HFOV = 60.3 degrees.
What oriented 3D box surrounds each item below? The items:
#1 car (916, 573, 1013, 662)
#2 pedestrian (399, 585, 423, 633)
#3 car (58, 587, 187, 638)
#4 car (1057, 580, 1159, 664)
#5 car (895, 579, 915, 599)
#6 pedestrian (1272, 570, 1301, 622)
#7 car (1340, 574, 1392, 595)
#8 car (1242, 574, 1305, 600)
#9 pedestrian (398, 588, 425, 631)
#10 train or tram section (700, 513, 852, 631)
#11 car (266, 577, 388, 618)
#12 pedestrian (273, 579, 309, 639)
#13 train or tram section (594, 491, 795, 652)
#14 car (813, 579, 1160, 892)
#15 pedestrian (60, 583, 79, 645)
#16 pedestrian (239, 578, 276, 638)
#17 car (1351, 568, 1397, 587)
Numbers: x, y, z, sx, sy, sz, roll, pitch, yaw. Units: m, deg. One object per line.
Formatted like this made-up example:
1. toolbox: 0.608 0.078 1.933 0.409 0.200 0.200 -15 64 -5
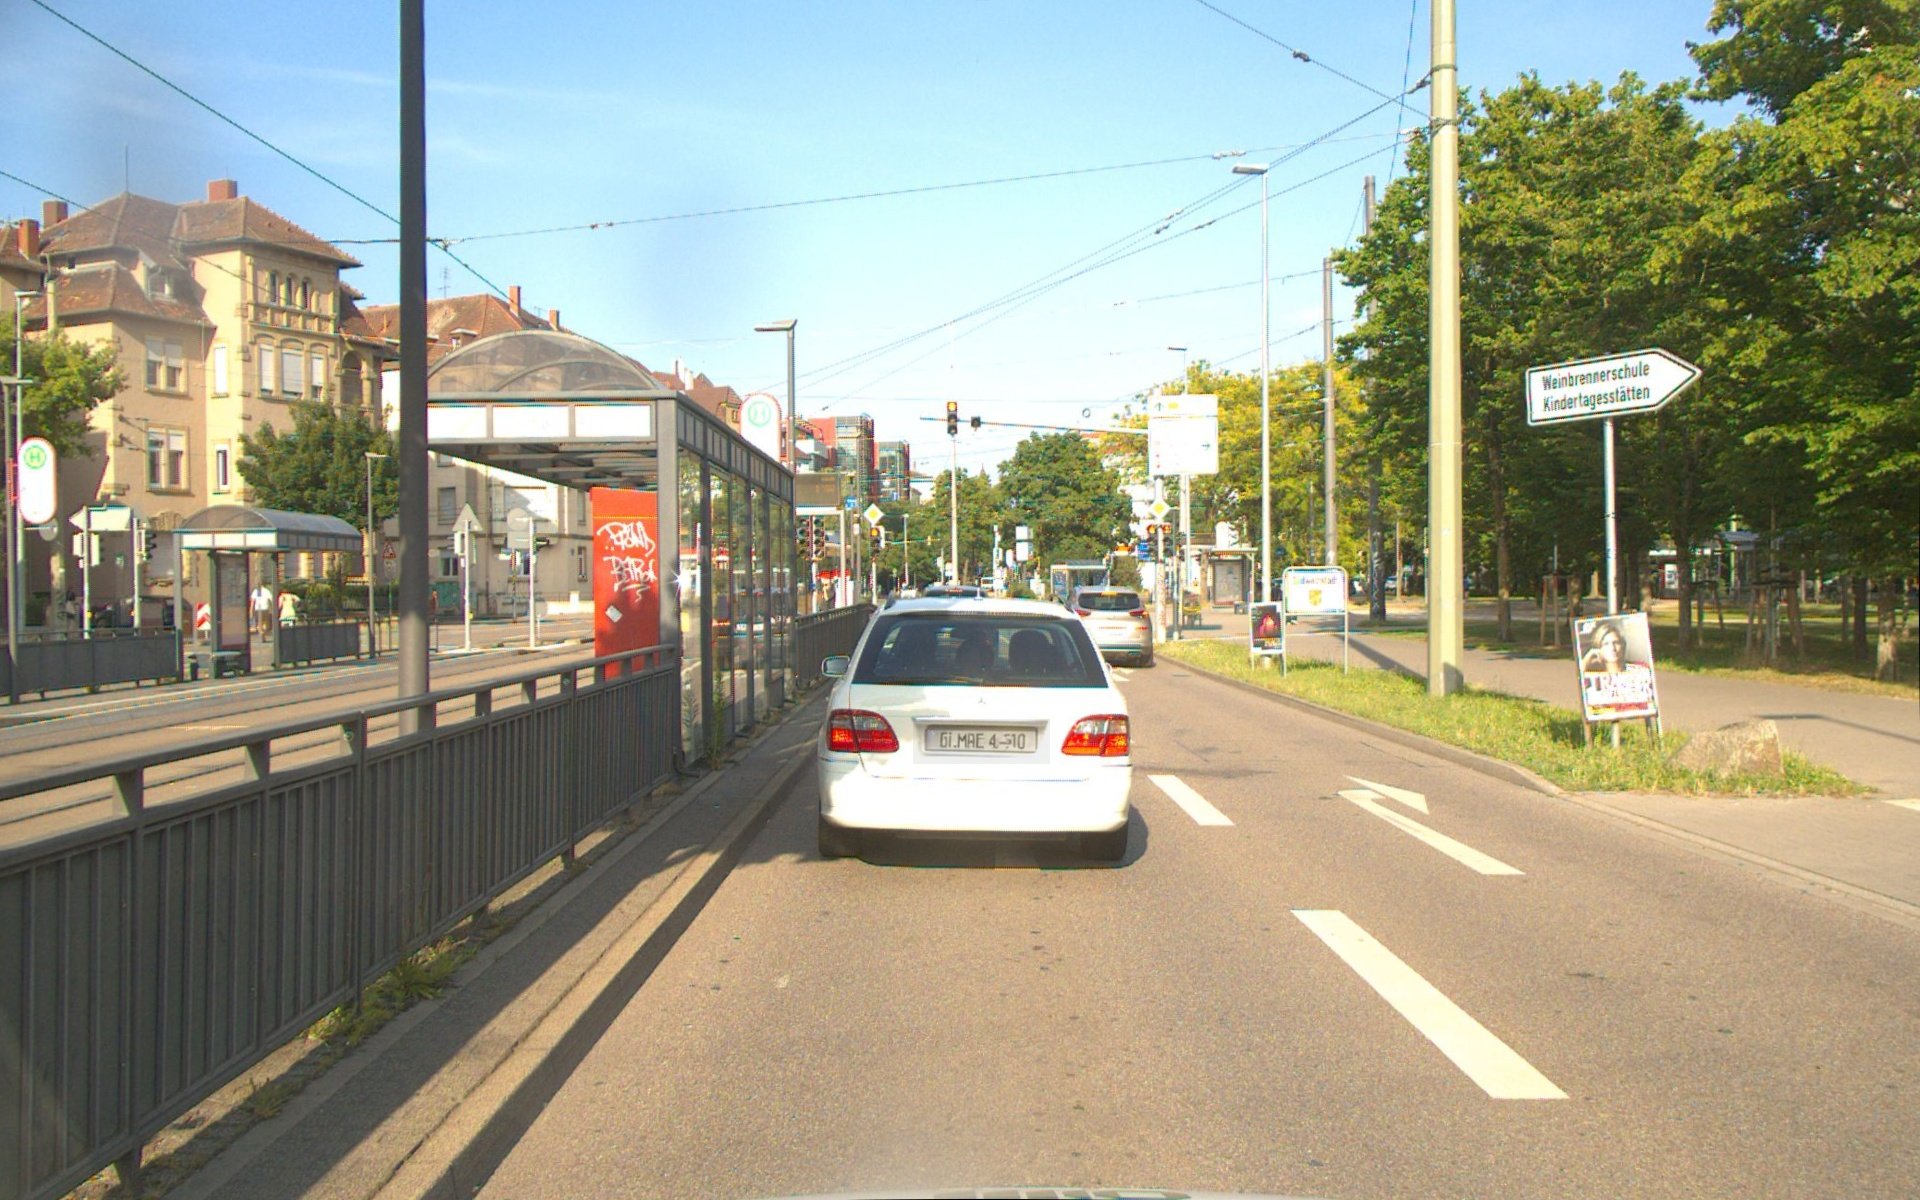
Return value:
1. car: 0.152 0.305 34.067 1.750 1.719 4.002 0 1 4
2. pedestrian: -20.726 0.324 62.454 0.651 1.783 0.746 0 1 3
3. car: -30.664 0.426 60.571 3.903 1.780 2.001 0 1 17
4. car: 3.038 0.417 34.533 1.990 1.633 4.002 0 1 4
5. car: -5.789 -1.137 174.876 1.953 2.049 3.999 -1 0 -1
6. pedestrian: 10.615 -0.138 53.784 0.867 1.681 0.746 0 1 7
7. car: 34.805 -1.333 141.771 3.940 1.680 1.982 -1 0 -27
8. car: 21.620 -0.880 114.133 3.908 1.680 1.999 -1 0 25
9. pedestrian: -23.075 0.382 69.551 0.868 1.783 0.746 0 1 3
10. train or tram section: -5.956 -0.950 56.258 2.789 3.540 13.207 0 1 4
11. car: -26.512 -0.145 69.446 2.159 1.656 4.716 0 1 22
12. pedestrian: -20.070 0.267 49.629 0.870 1.783 0.744 0 1 -11
13. train or tram section: -6.548 -0.748 43.251 2.790 3.540 13.203 0 1 1
14. car: 0.058 0.653 10.304 1.723 1.530 3.998 -1 1 -2
15. pedestrian: -29.726 0.475 55.212 0.374 2.049 0.408 0 1 18
16. pedestrian: -20.998 0.232 49.455 0.870 1.783 0.744 0 1 -11
17. car: 36.916 -2.008 147.422 3.902 1.680 2.002 -1 0 14
